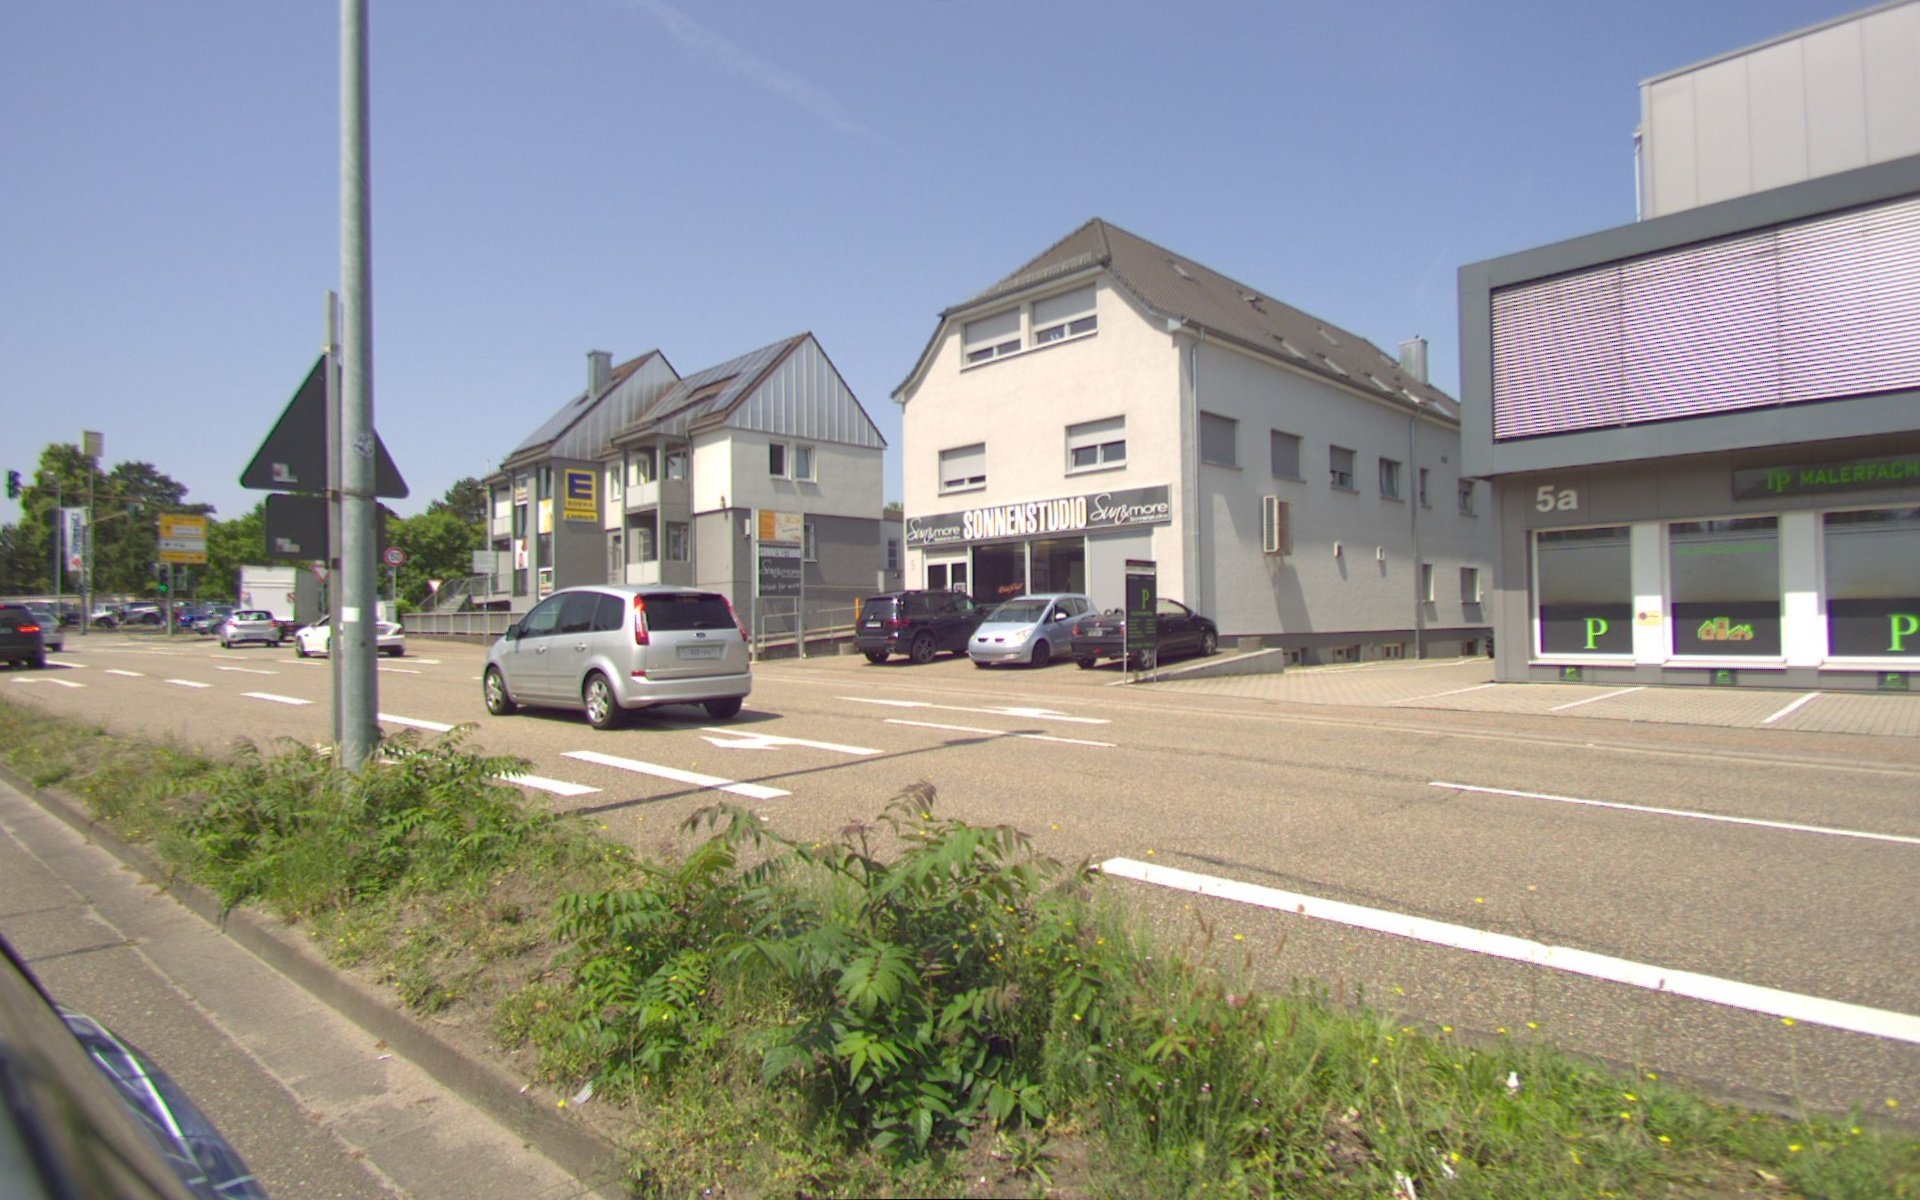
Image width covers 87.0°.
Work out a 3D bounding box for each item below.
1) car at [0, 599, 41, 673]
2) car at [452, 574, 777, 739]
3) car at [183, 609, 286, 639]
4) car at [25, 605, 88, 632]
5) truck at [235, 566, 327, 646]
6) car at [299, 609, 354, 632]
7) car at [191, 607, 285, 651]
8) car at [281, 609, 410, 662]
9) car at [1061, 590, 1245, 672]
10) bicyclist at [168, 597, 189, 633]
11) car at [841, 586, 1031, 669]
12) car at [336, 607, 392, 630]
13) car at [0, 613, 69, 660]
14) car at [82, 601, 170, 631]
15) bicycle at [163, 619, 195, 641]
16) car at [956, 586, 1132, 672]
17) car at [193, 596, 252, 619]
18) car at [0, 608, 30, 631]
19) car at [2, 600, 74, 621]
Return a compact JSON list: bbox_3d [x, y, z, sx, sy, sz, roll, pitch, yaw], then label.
[{"bbox_3d":[-25.218,0.878,25.891,4.756,1.764,1.890,0,1,40],"label":"car"},{"bbox_3d":[-4.267,0.564,12.131,4.338,1.641,1.762,-1,0,41],"label":"car"},{"bbox_3d":[-43.114,1.378,60.256,1.755,1.622,4.713,0,1,31],"label":"car"},{"bbox_3d":[-60.329,1.222,67.569,3.993,1.737,1.830,1,0,26],"label":"car"},{"bbox_3d":[-31.774,0.152,47.629,2.233,3.443,7.063,-2,2,-23],"label":"truck"},{"bbox_3d":[-48.816,1.534,78.023,3.981,1.696,1.851,0,1,28],"label":"car"},{"bbox_3d":[-27.777,1.070,38.878,4.193,1.578,1.879,0,0,39],"label":"car"},{"bbox_3d":[-17.565,0.963,28.848,4.351,1.364,1.787,-1,0,39],"label":"car"},{"bbox_3d":[4.099,0.572,21.067,1.999,1.532,4.013,-1,0,42],"label":"car"},{"bbox_3d":[-37.337,0.706,48.332,0.815,1.655,0.419,-2,0,23],"label":"bicyclist"},{"bbox_3d":[-0.487,0.595,24.421,1.854,1.639,4.555,-1,2,44],"label":"car"},{"bbox_3d":[-47.109,1.442,79.978,3.981,1.763,1.981,0,1,28],"label":"car"},{"bbox_3d":[-33.393,1.248,35.954,4.193,1.371,1.879,2,3,39],"label":"car"},{"bbox_3d":[-56.086,1.065,68.143,4.235,1.916,1.835,1,0,-27],"label":"car"},{"bbox_3d":[-37.286,1.428,48.311,1.778,1.062,0.418,-1,0,23],"label":"bicycle"},{"bbox_3d":[2.001,0.586,22.731,1.749,1.507,4.565,-2,2,37],"label":"car"},{"bbox_3d":[-51.530,0.536,70.696,3.981,1.548,1.779,0,1,28],"label":"car"},{"bbox_3d":[-64.474,1.305,68.049,1.686,1.443,3.976,1,0,-25],"label":"car"},{"bbox_3d":[-75.418,0.837,82.783,4.700,1.662,1.691,-1,0,7],"label":"car"}]
